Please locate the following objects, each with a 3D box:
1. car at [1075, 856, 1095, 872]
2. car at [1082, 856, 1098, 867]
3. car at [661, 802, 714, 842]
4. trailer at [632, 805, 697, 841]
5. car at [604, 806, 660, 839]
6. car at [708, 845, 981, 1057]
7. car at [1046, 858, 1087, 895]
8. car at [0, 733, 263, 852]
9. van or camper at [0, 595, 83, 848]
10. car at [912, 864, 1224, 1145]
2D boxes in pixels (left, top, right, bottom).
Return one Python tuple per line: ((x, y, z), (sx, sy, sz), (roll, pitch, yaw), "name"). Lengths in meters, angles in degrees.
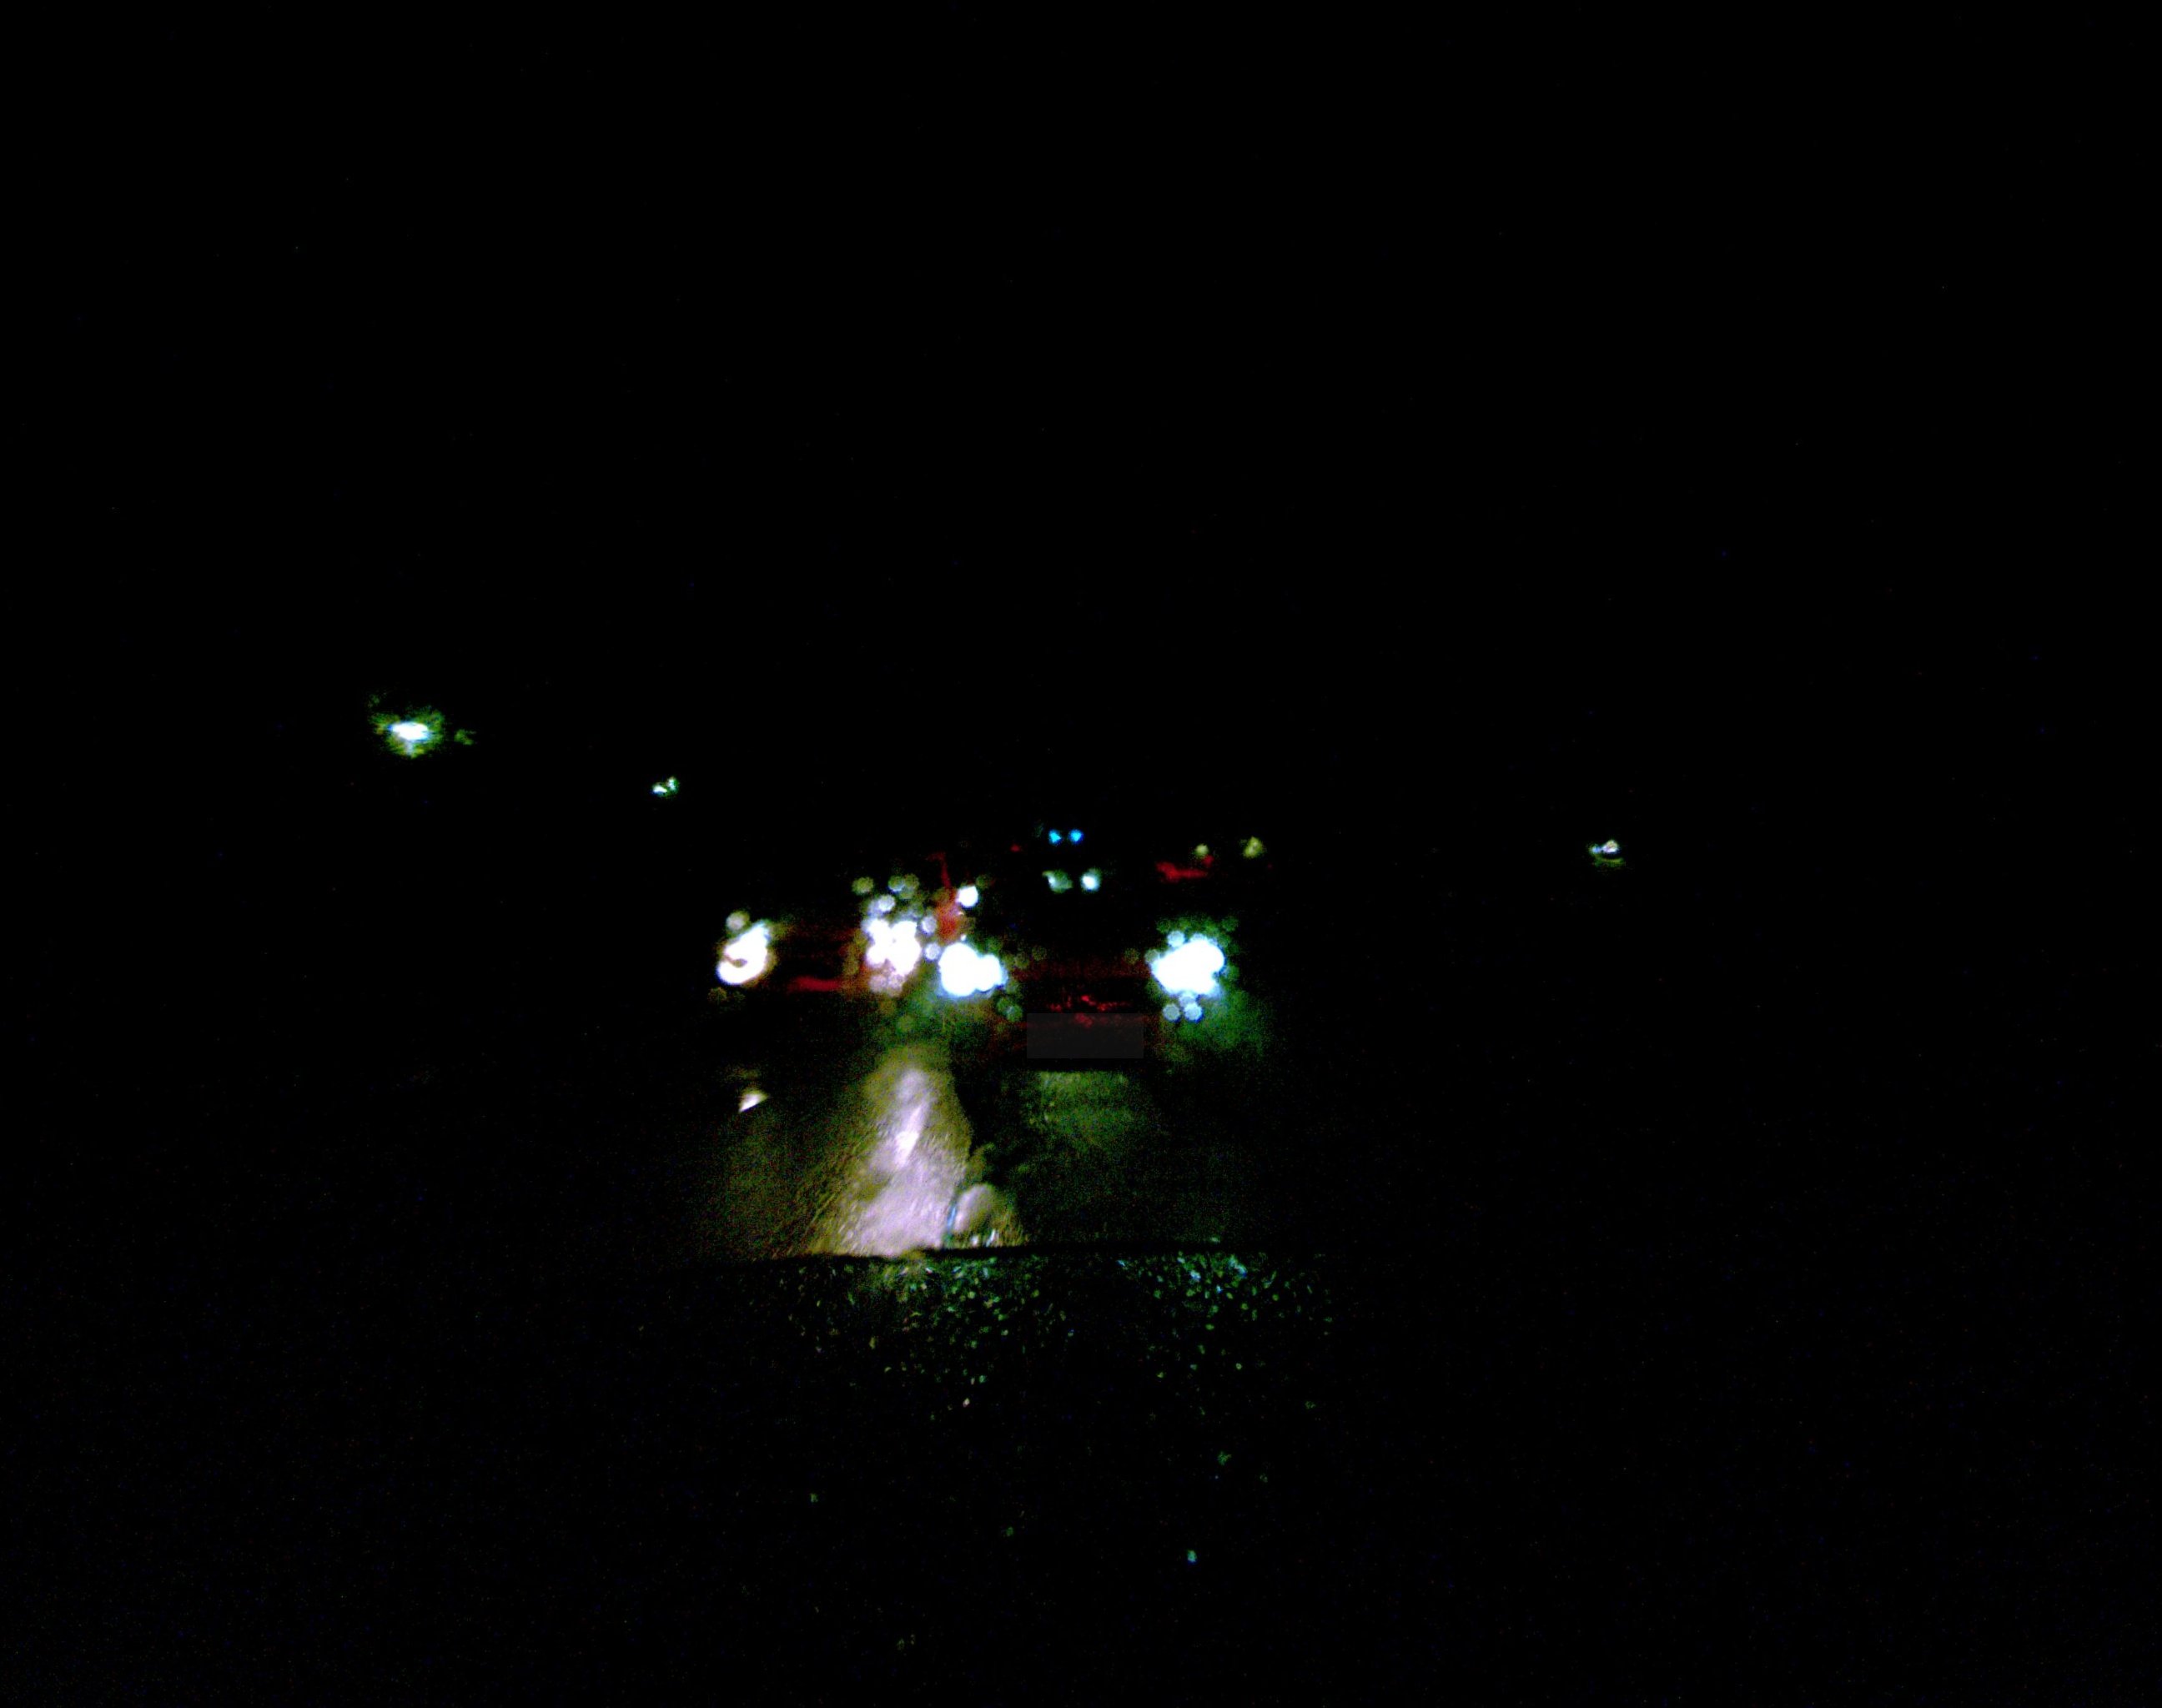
((0.377, 1.005, 78.475), (1.699, 1.426, 4.291), (-2, 1, -5), "car")
((1.205, 1.051, 108.038), (1.923, 1.435, 4.544), (-2, 0, -3), "car")
((-28.046, -2.246, 54.303), (2.122, 2.620, 5.443), (-1, 0, -14), "car")
((-26.687, -1.953, 48.891), (2.234, 2.060, 5.713), (-1, 0, -14), "trailer")
((-24.538, -1.676, 41.652), (1.619, 1.630, 3.994), (-2, 1, -16), "car")
((-2.402, 0.864, 9.076), (1.760, 1.807, 4.709), (-2, 0, -1), "car")
((-0.651, 0.927, 32.605), (1.625, 1.477, 3.785), (-1, -1, -2), "car")
((-16.232, -0.883, 12.671), (1.642, 1.608, 4.128), (-2, 0, -17), "car")
((-12.940, -1.530, 6.231), (2.591, 2.891, 6.348), (-1, 0, -19), "van or camper")
((-0.077, 0.913, 6.844), (1.810, 1.590, 4.786), (-1, 0, 0), "car")
